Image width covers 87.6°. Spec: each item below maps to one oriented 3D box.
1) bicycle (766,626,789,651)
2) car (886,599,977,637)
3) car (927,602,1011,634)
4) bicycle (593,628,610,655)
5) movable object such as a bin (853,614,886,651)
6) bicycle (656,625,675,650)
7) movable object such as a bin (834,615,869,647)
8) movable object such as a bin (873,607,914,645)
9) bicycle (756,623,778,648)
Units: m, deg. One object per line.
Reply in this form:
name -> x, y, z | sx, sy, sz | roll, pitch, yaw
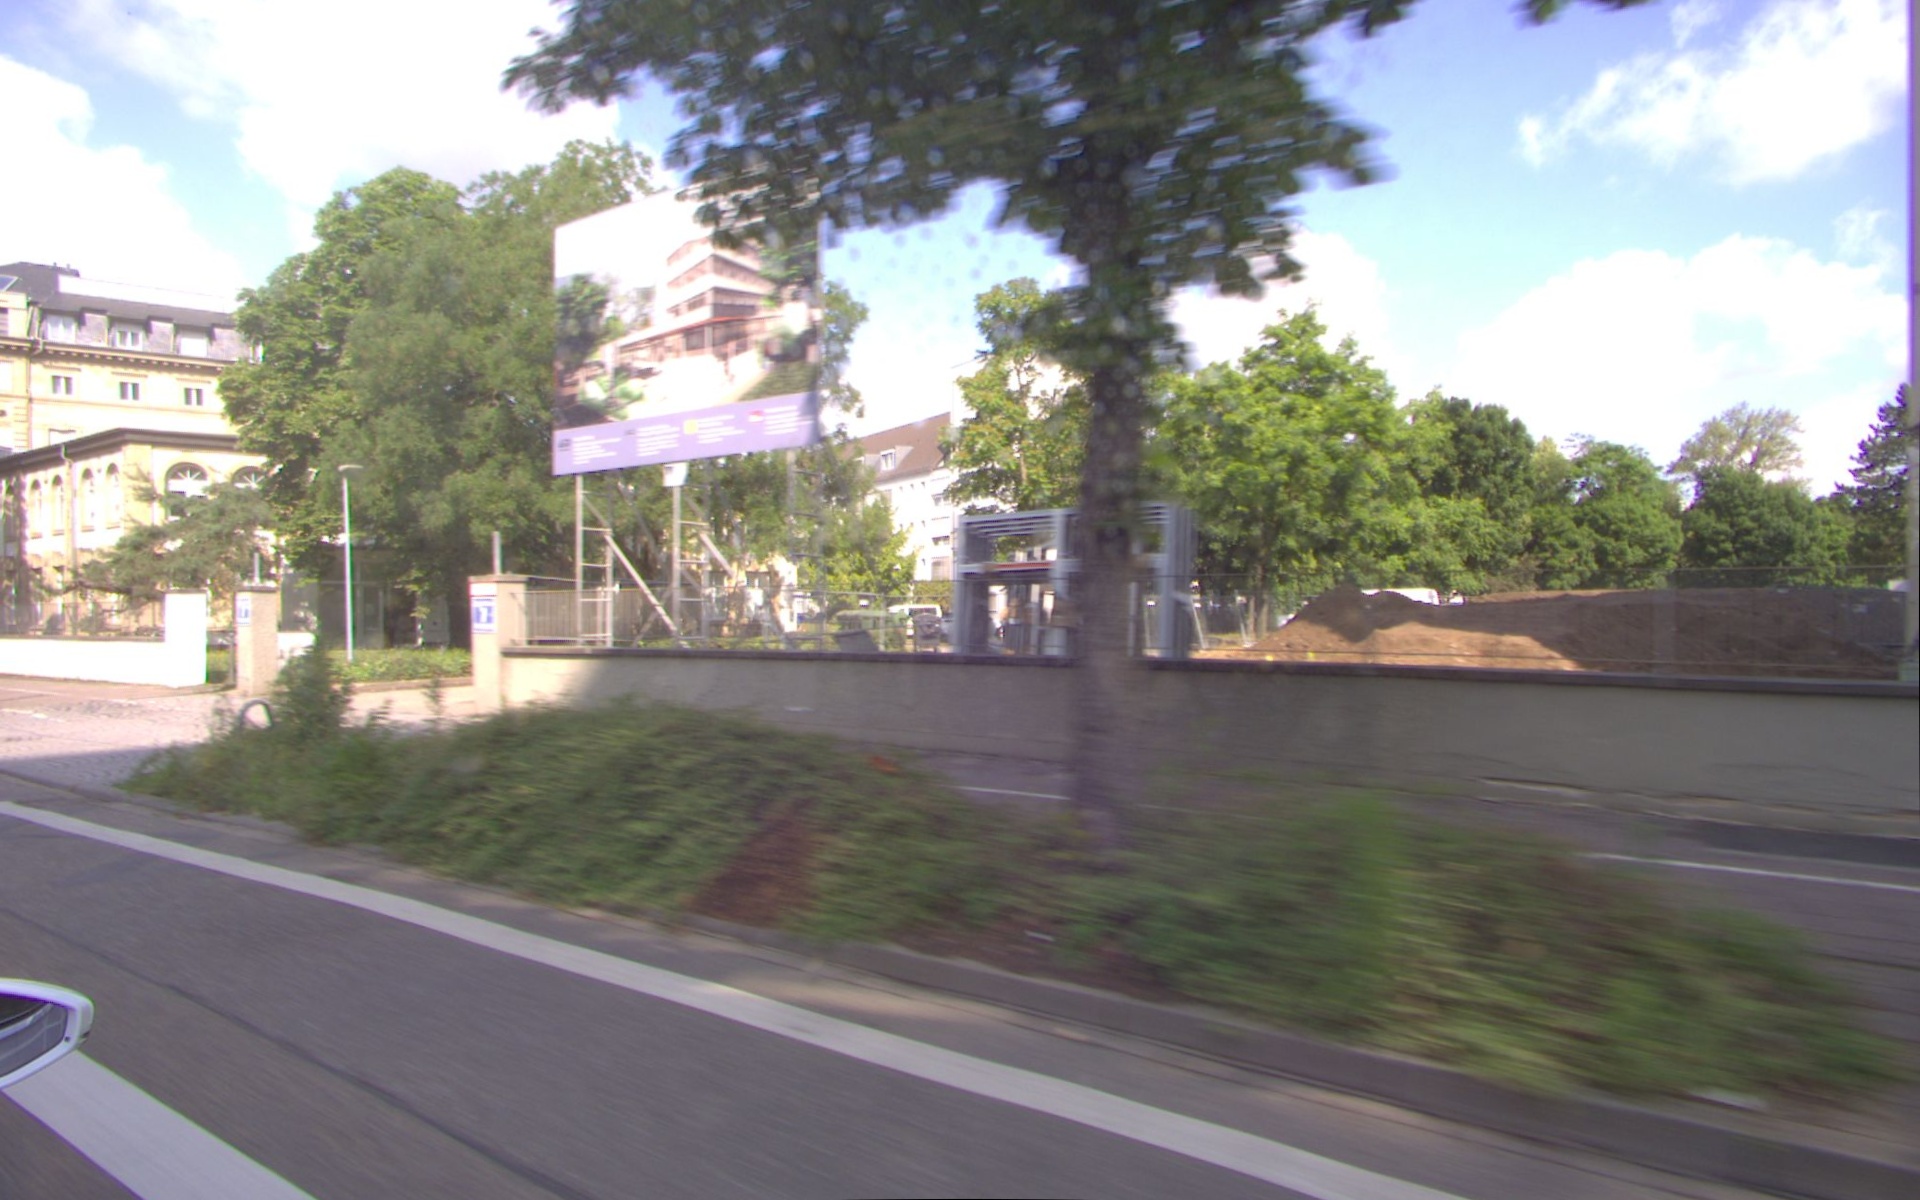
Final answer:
bicycle -> -8.394, 1.773, 46.049 | 0.413, 1.070, 2.059 | -3, 0, -26
car -> -1.626, 1.058, 58.154 | 4.882, 1.988, 1.992 | -1, -3, -29
car -> 0.469, 0.906, 50.095 | 3.861, 1.438, 1.750 | -2, -1, -31
bicycle -> -15.066, 1.734, 42.044 | 0.413, 1.070, 2.059 | -3, 0, -26
movable object such as a bin -> -3.710, 1.337, 41.097 | 0.869, 1.470, 1.225 | 1, -2, -36
bicycle -> -12.830, 1.626, 43.634 | 0.413, 1.070, 2.059 | -3, 0, -26
movable object such as a bin -> -4.643, 1.328, 42.762 | 0.935, 1.366, 1.372 | 1, -2, -37
movable object such as a bin -> -2.654, 1.038, 39.785 | 1.089, 1.470, 1.334 | 1, -2, -36
bicycle -> -8.827, 1.628, 45.704 | 0.413, 1.070, 2.059 | -3, 0, -26
